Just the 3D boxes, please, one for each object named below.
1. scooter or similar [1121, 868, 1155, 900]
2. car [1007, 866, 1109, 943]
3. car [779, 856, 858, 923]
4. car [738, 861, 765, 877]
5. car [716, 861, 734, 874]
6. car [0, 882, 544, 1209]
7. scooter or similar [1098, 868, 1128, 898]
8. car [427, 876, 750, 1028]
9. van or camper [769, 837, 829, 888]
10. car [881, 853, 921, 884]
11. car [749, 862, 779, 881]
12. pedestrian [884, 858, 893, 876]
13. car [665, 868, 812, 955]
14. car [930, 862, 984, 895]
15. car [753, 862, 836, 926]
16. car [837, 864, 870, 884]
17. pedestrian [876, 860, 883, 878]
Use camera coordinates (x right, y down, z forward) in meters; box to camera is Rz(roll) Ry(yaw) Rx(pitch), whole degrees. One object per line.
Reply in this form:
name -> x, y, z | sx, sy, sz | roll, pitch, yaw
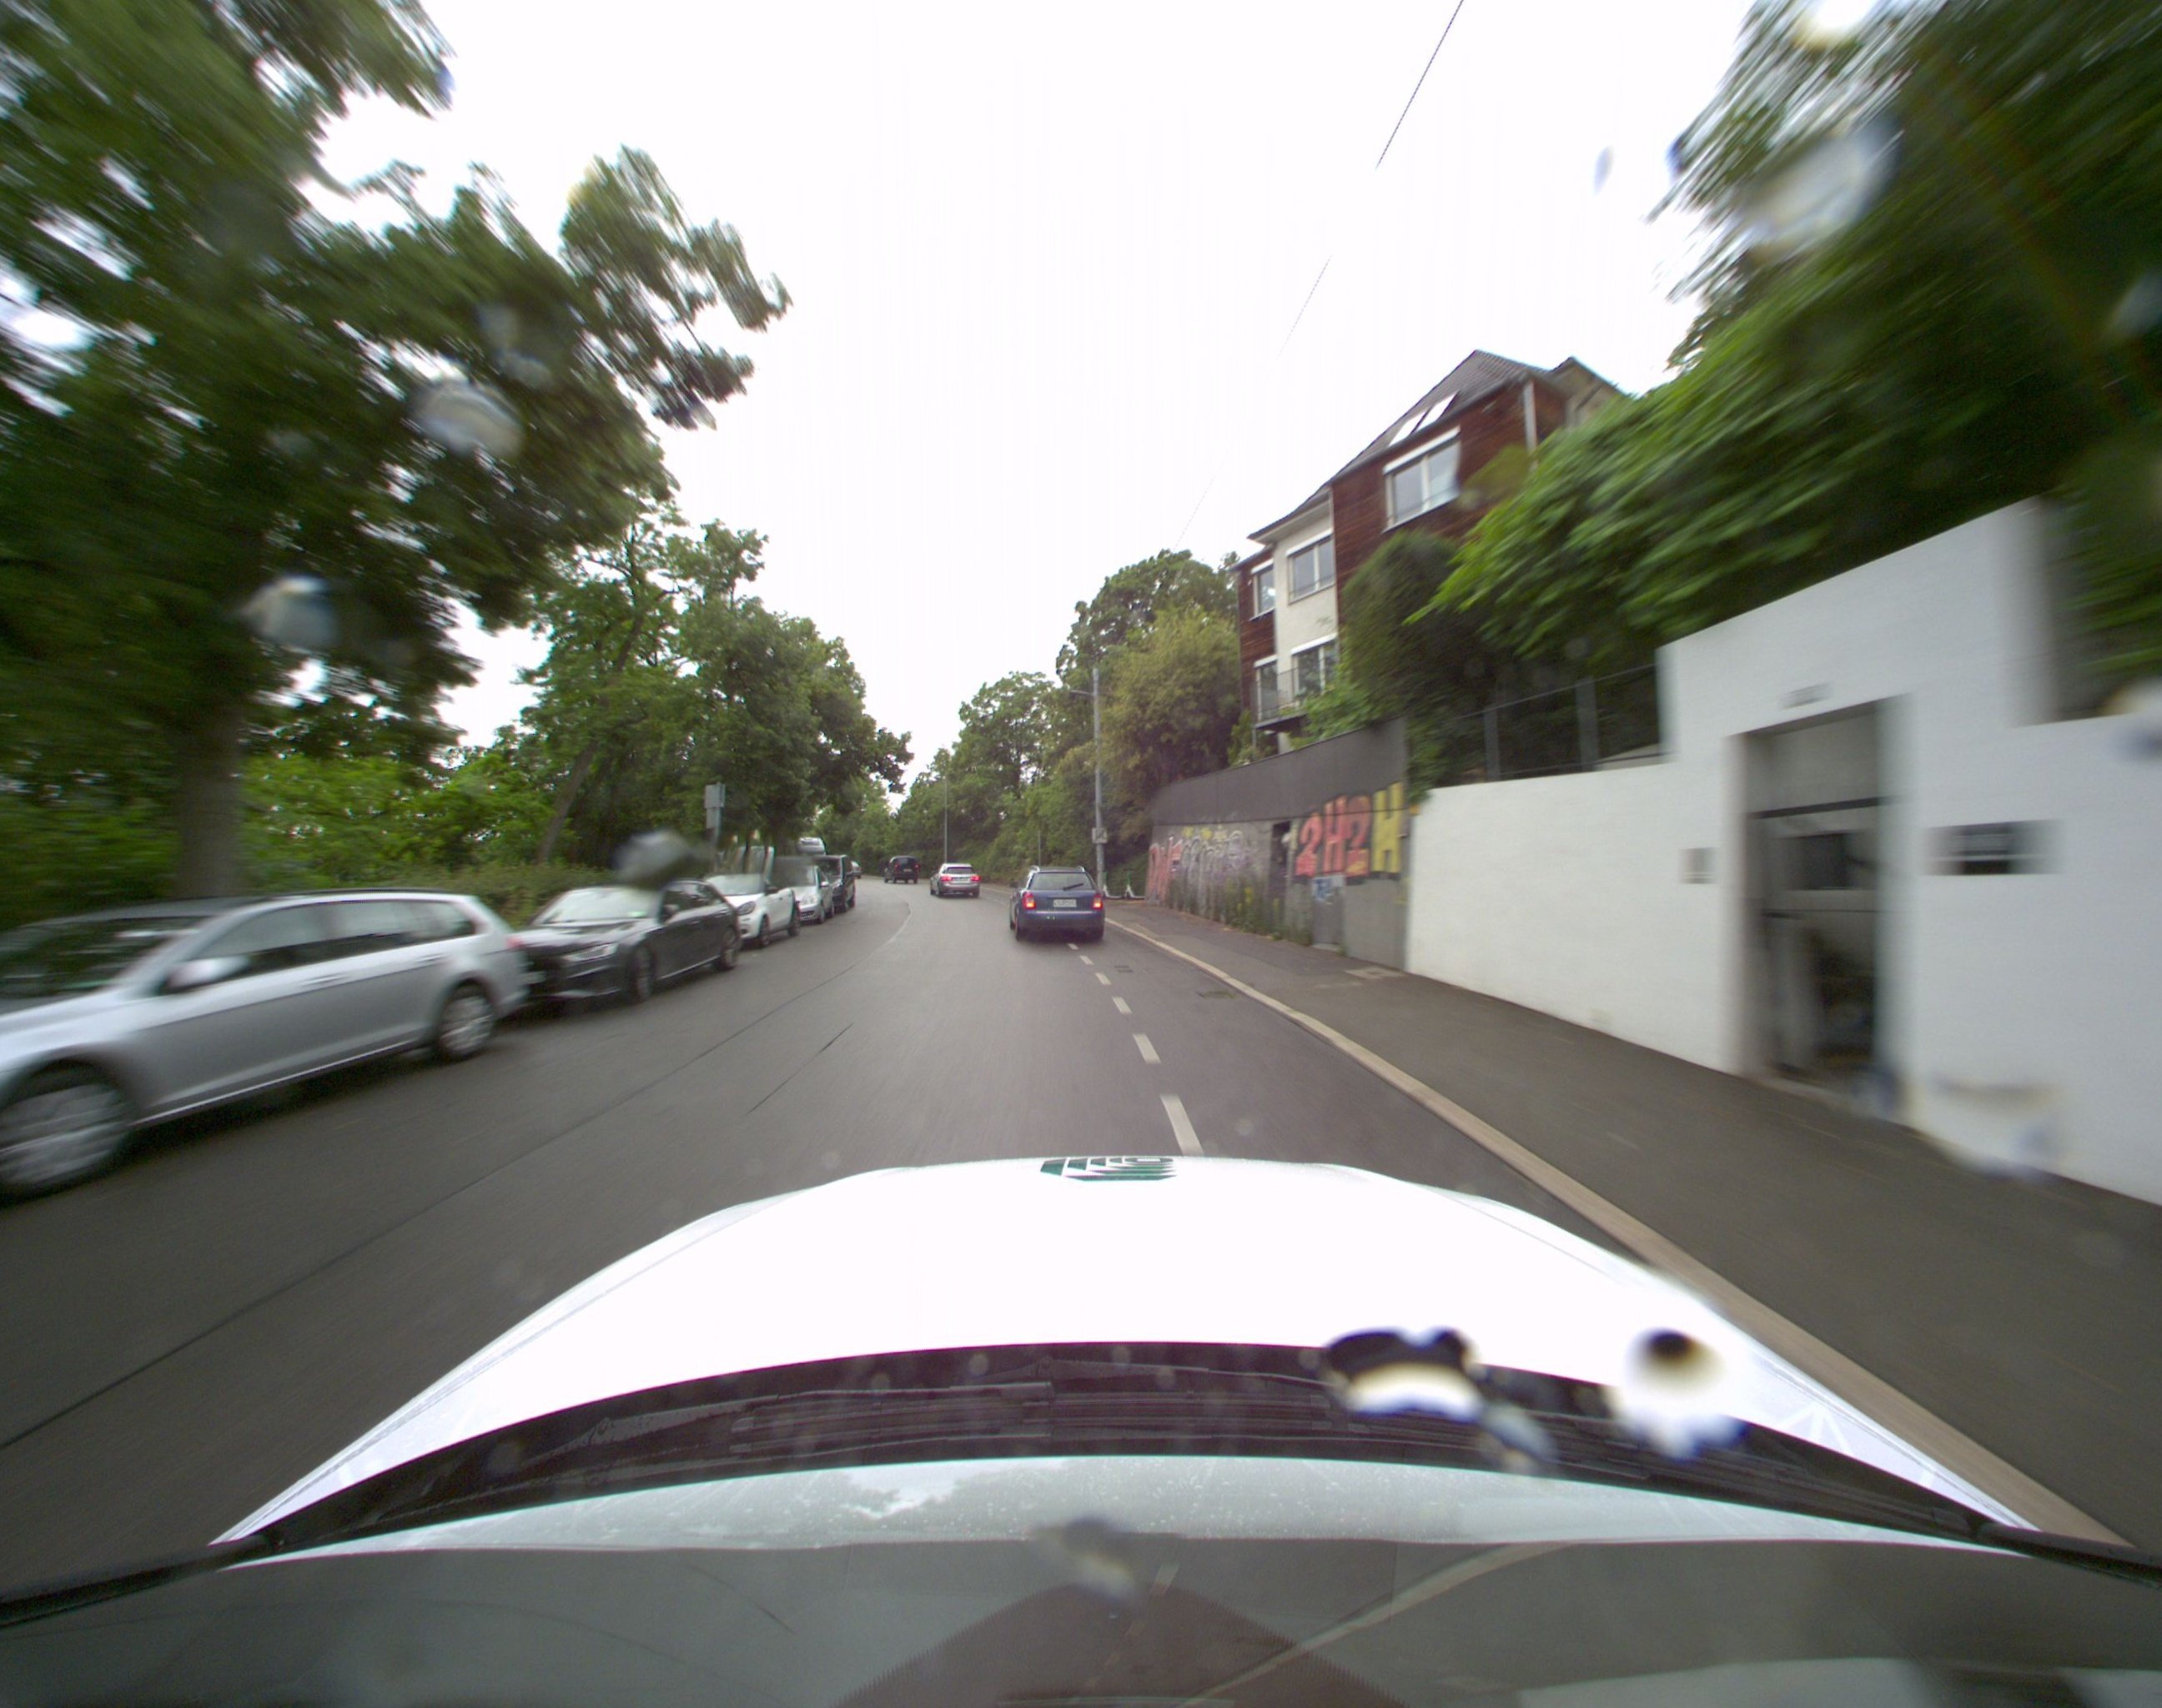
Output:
scooter or similar -> 2.037, 1.048, 29.180 | 0.349, 1.117, 1.406 | 2, -2, -39
car -> -0.602, 0.963, 17.125 | 1.746, 1.407, 3.989 | 0, -1, -8
car -> -9.060, 1.130, 28.507 | 1.956, 1.967, 4.982 | -3, 1, -12
car -> -31.264, 1.405, 77.249 | 2.004, 1.405, 4.672 | -1, 0, -27
car -> -43.784, 1.666, 100.124 | 1.699, 1.437, 4.218 | -5, 2, -27
car -> -5.943, 1.003, 5.476 | 1.649, 1.429, 4.375 | -2, 0, 1
scooter or similar -> 1.172, 1.068, 30.352 | 0.348, 1.117, 1.407 | 1, -2, -34
car -> -5.954, 1.054, 10.606 | 1.680, 1.380, 4.493 | -4, 0, -4
van or camper -> -18.881, 0.554, 54.275 | 2.521, 3.026, 6.500 | -4, 1, -29
car -> -12.312, 0.976, 55.544 | 1.797, 1.953, 3.968 | -3, 0, -24
car -> -26.459, 1.405, 67.887 | 2.004, 1.405, 4.675 | -1, 1, -25
pedestrian -> -16.696, 1.143, 70.558 | 0.598, 1.566, 0.663 | 1, -1, -25
car -> -7.076, 1.099, 17.286 | 1.682, 1.509, 4.196 | -4, -1, -7
car -> -5.593, 1.076, 36.379 | 1.895, 1.389, 3.978 | 0, -1, -16
car -> -8.025, 1.088, 23.089 | 1.685, 1.552, 3.750 | -3, -1, -13
car -> -18.850, 1.615, 67.302 | 1.832, 1.617, 3.751 | 0, -1, -28
pedestrian -> -17.346, 1.286, 70.135 | 0.555, 1.566, 0.483 | 0, 0, -25
